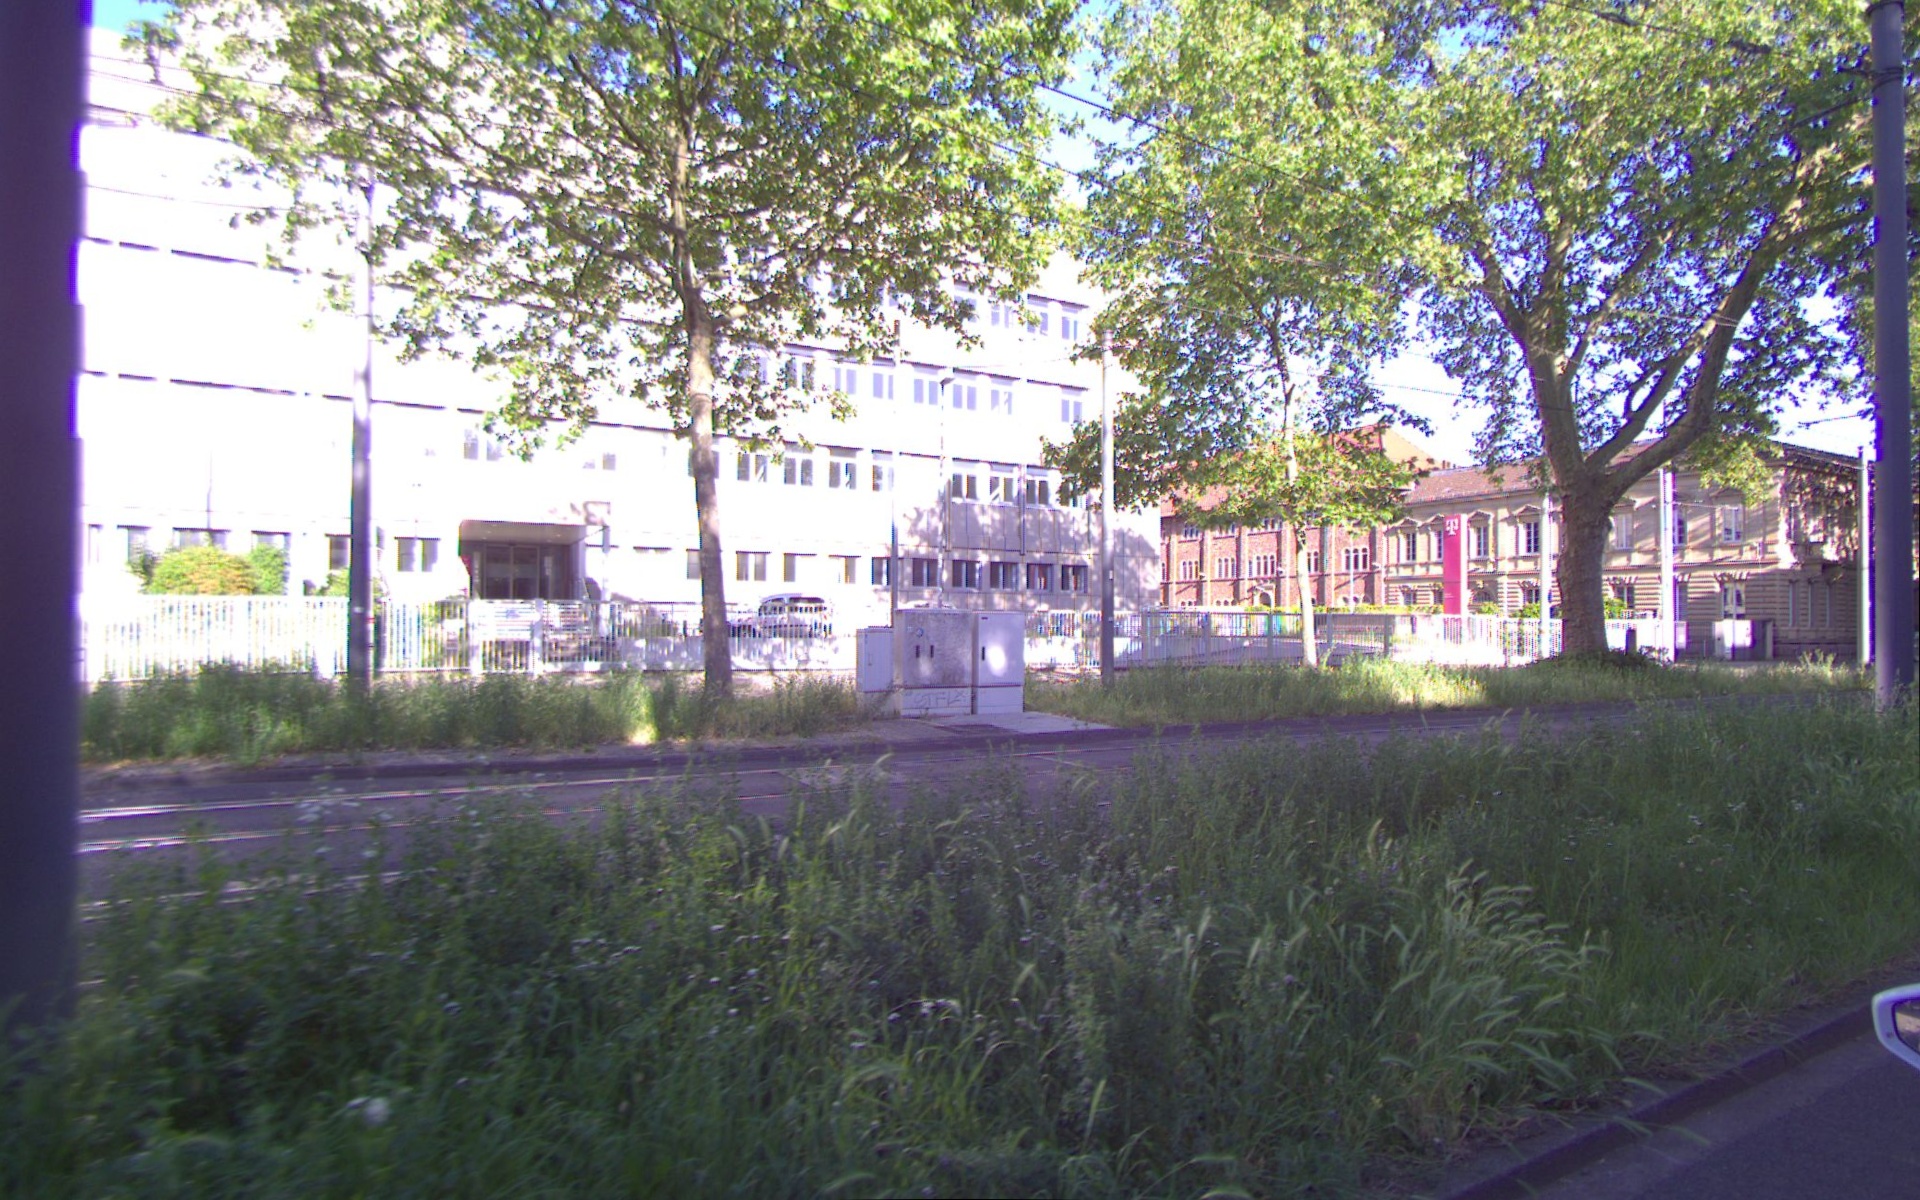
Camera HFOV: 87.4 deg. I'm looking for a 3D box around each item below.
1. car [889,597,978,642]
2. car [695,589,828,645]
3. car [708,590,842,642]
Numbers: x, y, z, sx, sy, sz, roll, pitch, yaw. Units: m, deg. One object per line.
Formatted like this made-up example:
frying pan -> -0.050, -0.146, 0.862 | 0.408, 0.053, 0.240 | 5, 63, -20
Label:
car -> -1.310, 0.945, 47.364 | 1.980, 2.040, 4.709 | 1, -2, -35
car -> -7.534, 0.672, 38.203 | 4.660, 2.040, 1.988 | 1, -2, -25
car -> -6.511, 0.579, 35.333 | 4.318, 1.726, 1.988 | 1, -2, -25
